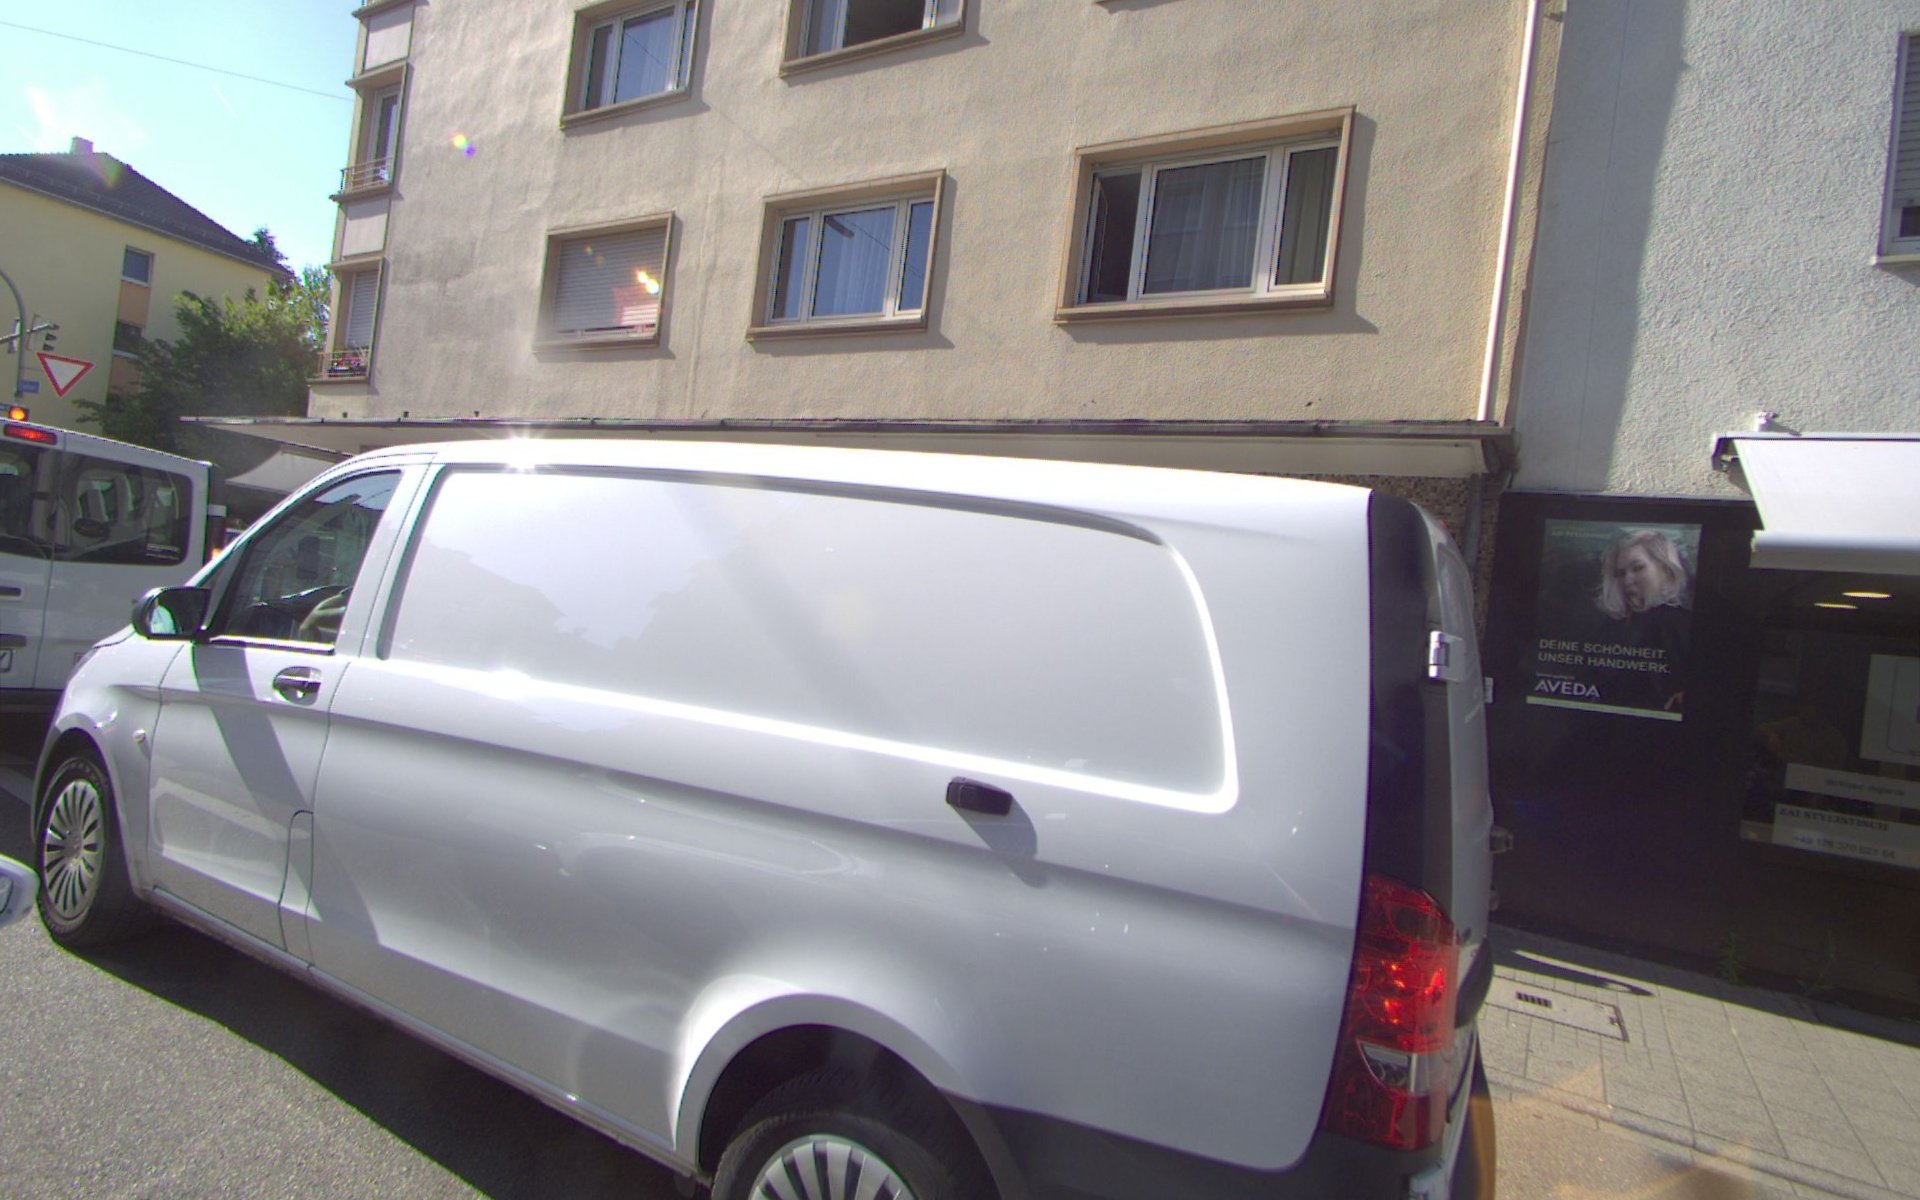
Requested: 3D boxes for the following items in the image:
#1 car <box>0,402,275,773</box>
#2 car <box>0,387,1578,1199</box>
[{"bbox_3d":[-7.113,-0.262,6.923,4.814,2.001,1.998,7,-2,32],"label":"car"},{"bbox_3d":[-1.018,0.494,3.312,4.910,1.891,1.841,7,-1,29],"label":"car"}]
